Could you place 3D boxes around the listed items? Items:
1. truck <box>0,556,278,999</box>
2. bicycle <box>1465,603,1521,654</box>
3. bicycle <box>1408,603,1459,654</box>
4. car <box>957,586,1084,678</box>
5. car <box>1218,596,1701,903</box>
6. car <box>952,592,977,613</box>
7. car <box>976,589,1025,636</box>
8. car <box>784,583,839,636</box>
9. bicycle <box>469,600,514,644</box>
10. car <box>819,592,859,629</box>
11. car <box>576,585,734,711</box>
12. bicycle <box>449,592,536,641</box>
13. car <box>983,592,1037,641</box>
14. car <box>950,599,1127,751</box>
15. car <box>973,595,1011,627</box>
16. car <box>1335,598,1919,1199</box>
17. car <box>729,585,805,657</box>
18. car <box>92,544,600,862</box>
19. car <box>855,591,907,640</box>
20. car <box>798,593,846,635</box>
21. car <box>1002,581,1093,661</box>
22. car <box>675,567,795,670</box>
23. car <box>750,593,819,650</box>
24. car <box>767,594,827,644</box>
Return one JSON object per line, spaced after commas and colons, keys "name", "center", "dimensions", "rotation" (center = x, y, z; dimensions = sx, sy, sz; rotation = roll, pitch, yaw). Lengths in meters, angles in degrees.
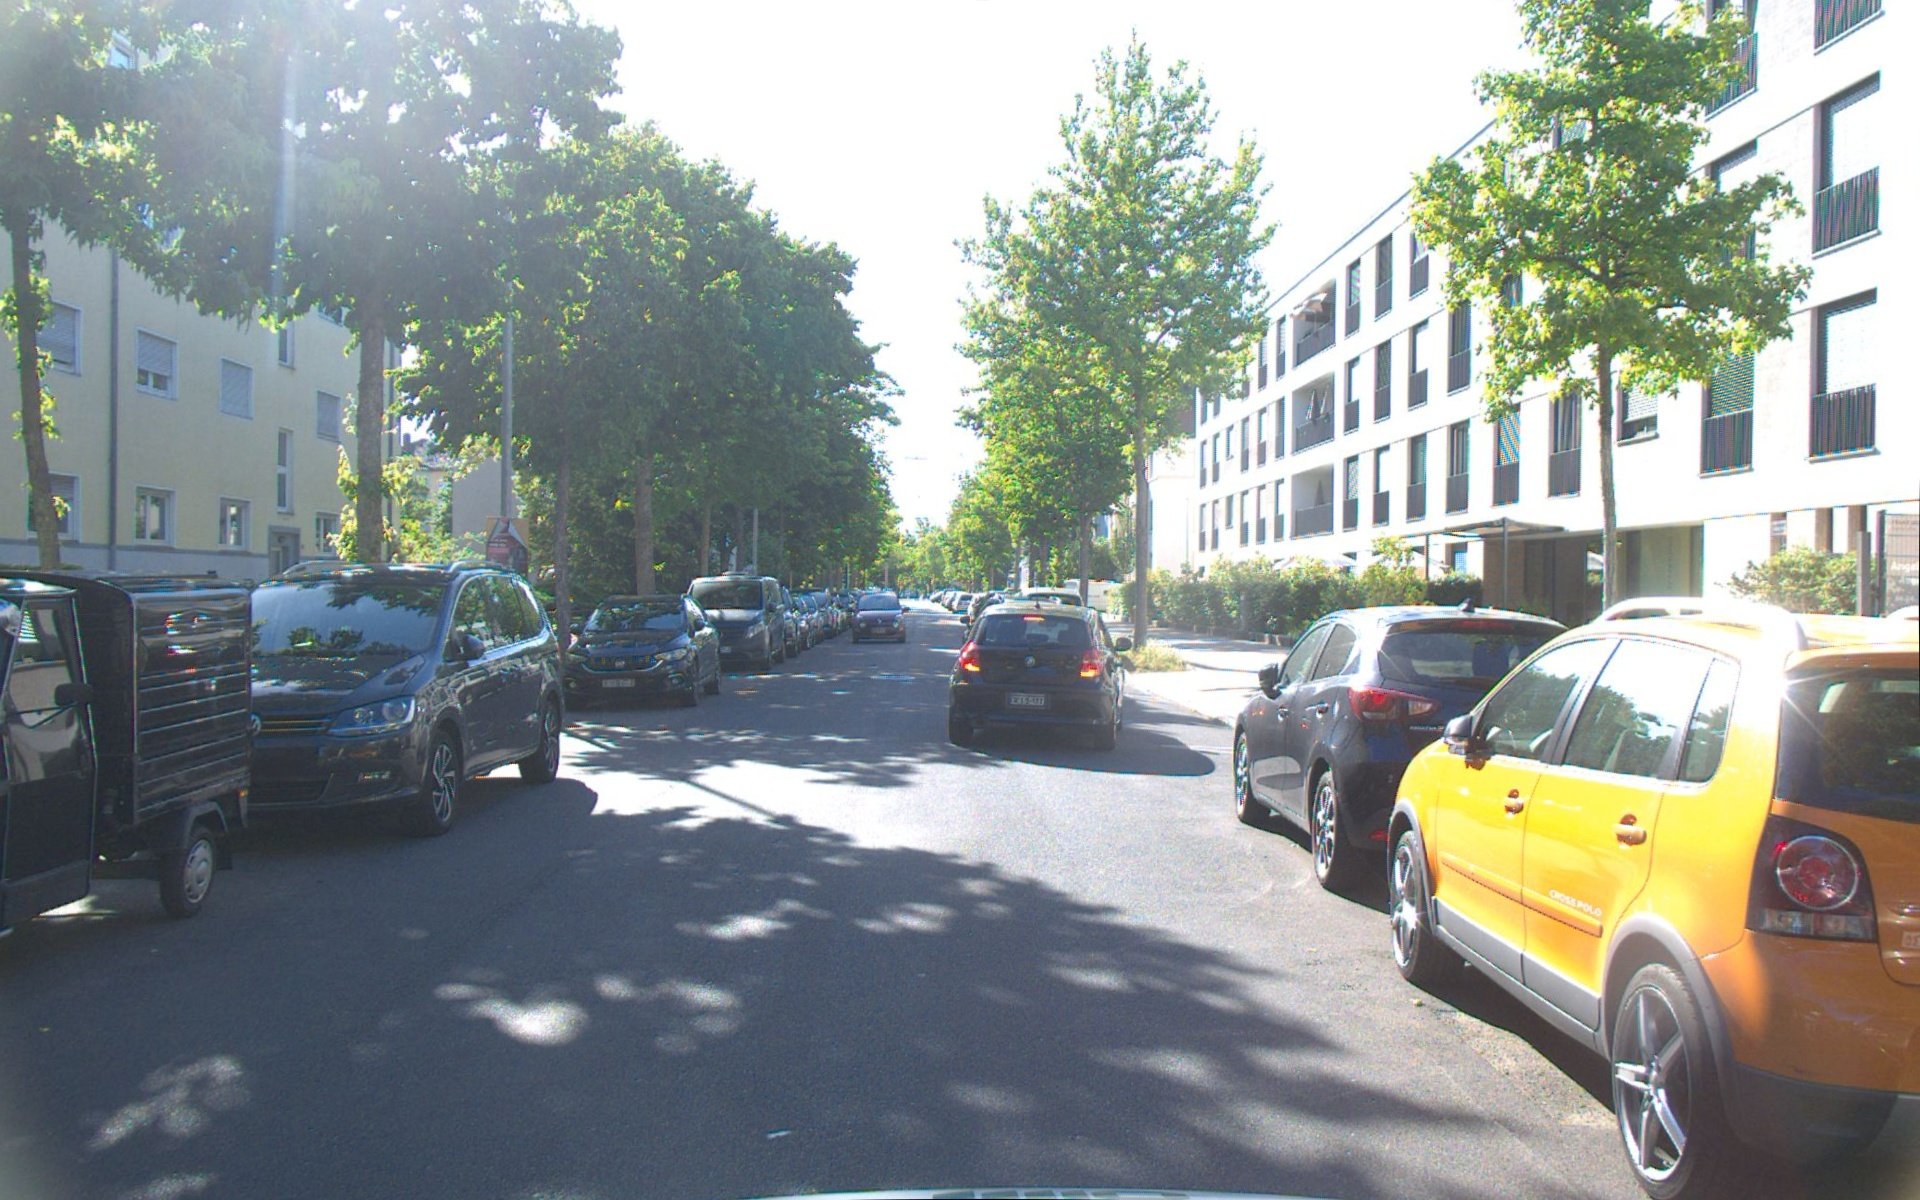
{"name": "truck", "center": [-3.987, 0.634, 7.115], "dimensions": [1.062, 1.605, 2.432], "rotation": [0, 0, 1]}
{"name": "bicycle", "center": [11.705, 0.619, 36.363], "dimensions": [0.535, 1.073, 1.778], "rotation": [0, 0, -4]}
{"name": "bicycle", "center": [10.370, 0.616, 36.285], "dimensions": [0.535, 1.073, 1.690], "rotation": [0, 0, -4]}
{"name": "car", "center": [0.955, 0.482, 28.127], "dimensions": [1.618, 1.450, 3.996], "rotation": [0, 0, -6]}
{"name": "car", "center": [2.756, 0.721, 10.101], "dimensions": [1.666, 1.474, 4.081], "rotation": [0, 0, -1]}
{"name": "car", "center": [0.340, 0.158, 118.771], "dimensions": [1.685, 1.506, 3.852], "rotation": [0, 0, 2]}
{"name": "car", "center": [1.534, 0.461, 63.595], "dimensions": [1.686, 1.669, 3.851], "rotation": [3, 0, 0]}
{"name": "car", "center": [-4.963, 0.292, 55.664], "dimensions": [1.580, 1.708, 4.232], "rotation": [-1, 0, -2]}
{"name": "bicycle", "center": [-11.235, 0.515, 39.718], "dimensions": [0.582, 1.009, 1.927], "rotation": [0, 0, -1]}
{"name": "car", "center": [-5.311, 0.428, 72.883], "dimensions": [1.580, 1.570, 3.864], "rotation": [-1, 0, -2]}
{"name": "car", "center": [-4.252, 0.610, 23.698], "dimensions": [1.477, 1.575, 4.777], "rotation": [-2, 0, -2]}
{"name": "bicycle", "center": [-12.014, 0.417, 42.568], "dimensions": [2.107, 1.230, 0.688], "rotation": [0, 0, -13]}
{"name": "car", "center": [1.695, 0.543, 57.591], "dimensions": [1.686, 1.555, 4.000], "rotation": [3, 0, 0]}
{"name": "car", "center": [0.740, 0.708, 17.461], "dimensions": [1.616, 1.421, 3.410], "rotation": [0, 0, -2]}
{"name": "car", "center": [1.491, 0.507, 78.714], "dimensions": [1.686, 1.403, 3.851], "rotation": [3, 0, 0]}
{"name": "car", "center": [2.565, 0.747, 5.530], "dimensions": [1.603, 1.480, 4.098], "rotation": [0, 0, -2]}
{"name": "car", "center": [-4.598, 0.469, 39.828], "dimensions": [1.580, 1.639, 4.226], "rotation": [-1, 0, -4]}
{"name": "car", "center": [-3.976, 0.555, 11.747], "dimensions": [1.812, 1.710, 4.975], "rotation": [-2, 0, -2]}
{"name": "car", "center": [-2.365, 0.448, 50.191], "dimensions": [1.475, 1.451, 3.177], "rotation": [0, 0, -1]}
{"name": "car", "center": [-5.083, 0.485, 61.365], "dimensions": [1.580, 1.478, 3.864], "rotation": [-1, 0, -2]}
{"name": "car", "center": [1.924, 0.453, 37.465], "dimensions": [1.810, 1.659, 4.410], "rotation": [1, 0, 0]}
{"name": "car", "center": [-4.548, 0.339, 34.098], "dimensions": [1.789, 1.938, 5.141], "rotation": [-1, 0, -1]}
{"name": "car", "center": [-4.746, 0.546, 45.134], "dimensions": [1.580, 1.452, 4.056], "rotation": [-1, 0, -2]}
{"name": "car", "center": [-4.919, 0.545, 50.224], "dimensions": [1.580, 1.452, 3.724], "rotation": [-1, 0, -2]}
